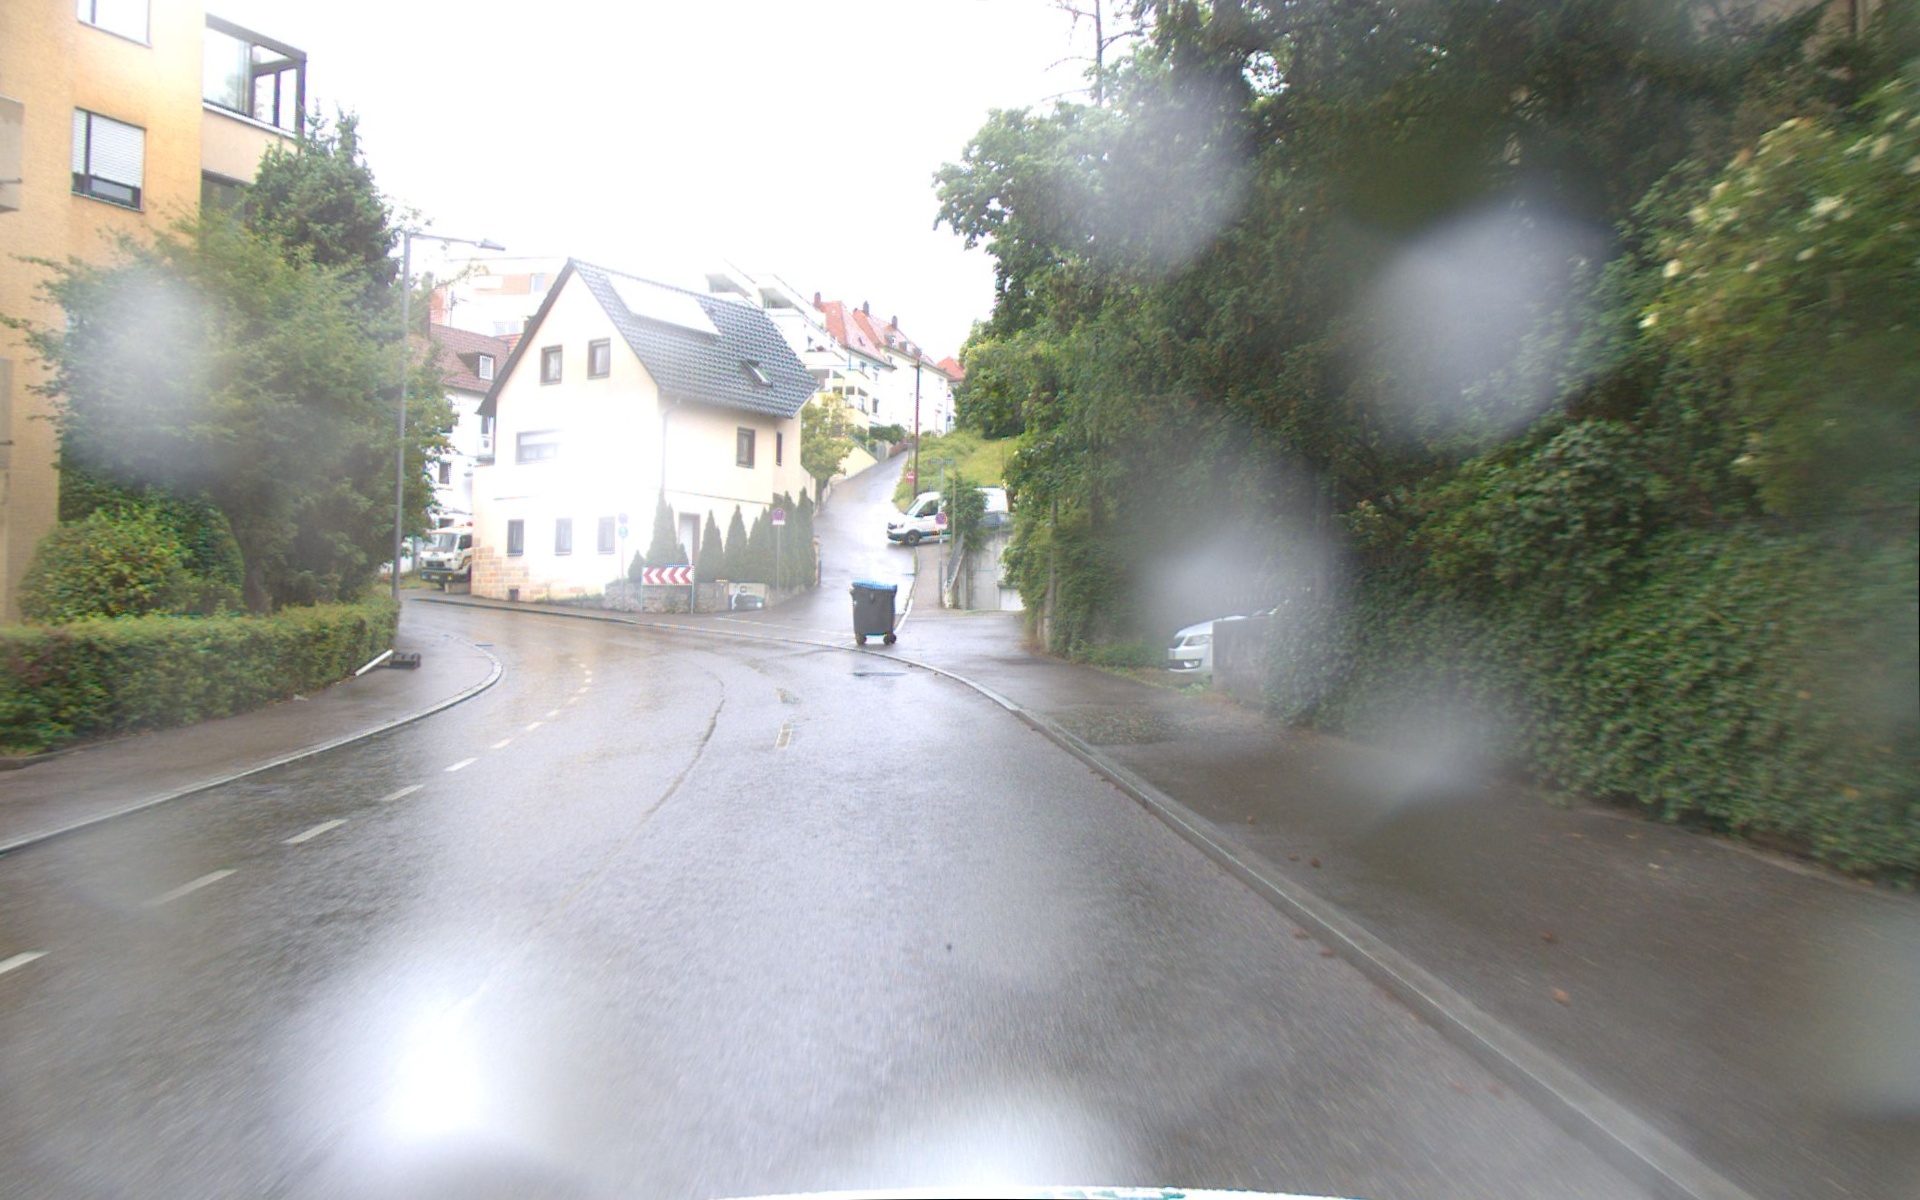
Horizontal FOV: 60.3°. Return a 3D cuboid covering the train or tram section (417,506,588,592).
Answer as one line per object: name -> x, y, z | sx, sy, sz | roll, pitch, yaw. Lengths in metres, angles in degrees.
train or tram section -> -18.106, -1.985, 65.836 | 2.315, 3.259, 6.853 | 1, 1, 32

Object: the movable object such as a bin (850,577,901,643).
movable object such as a bin -> -1.918, 0.214, 37.837 | 1.059, 1.467, 1.458 | 1, 1, -1

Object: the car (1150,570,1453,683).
car -> 5.033, 0.364, 24.736 | 4.061, 1.502, 1.903 | -2, 1, -4

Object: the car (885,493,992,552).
car -> -1.039, -3.675, 78.995 | 4.850, 2.614, 1.901 | -2, 1, -8
